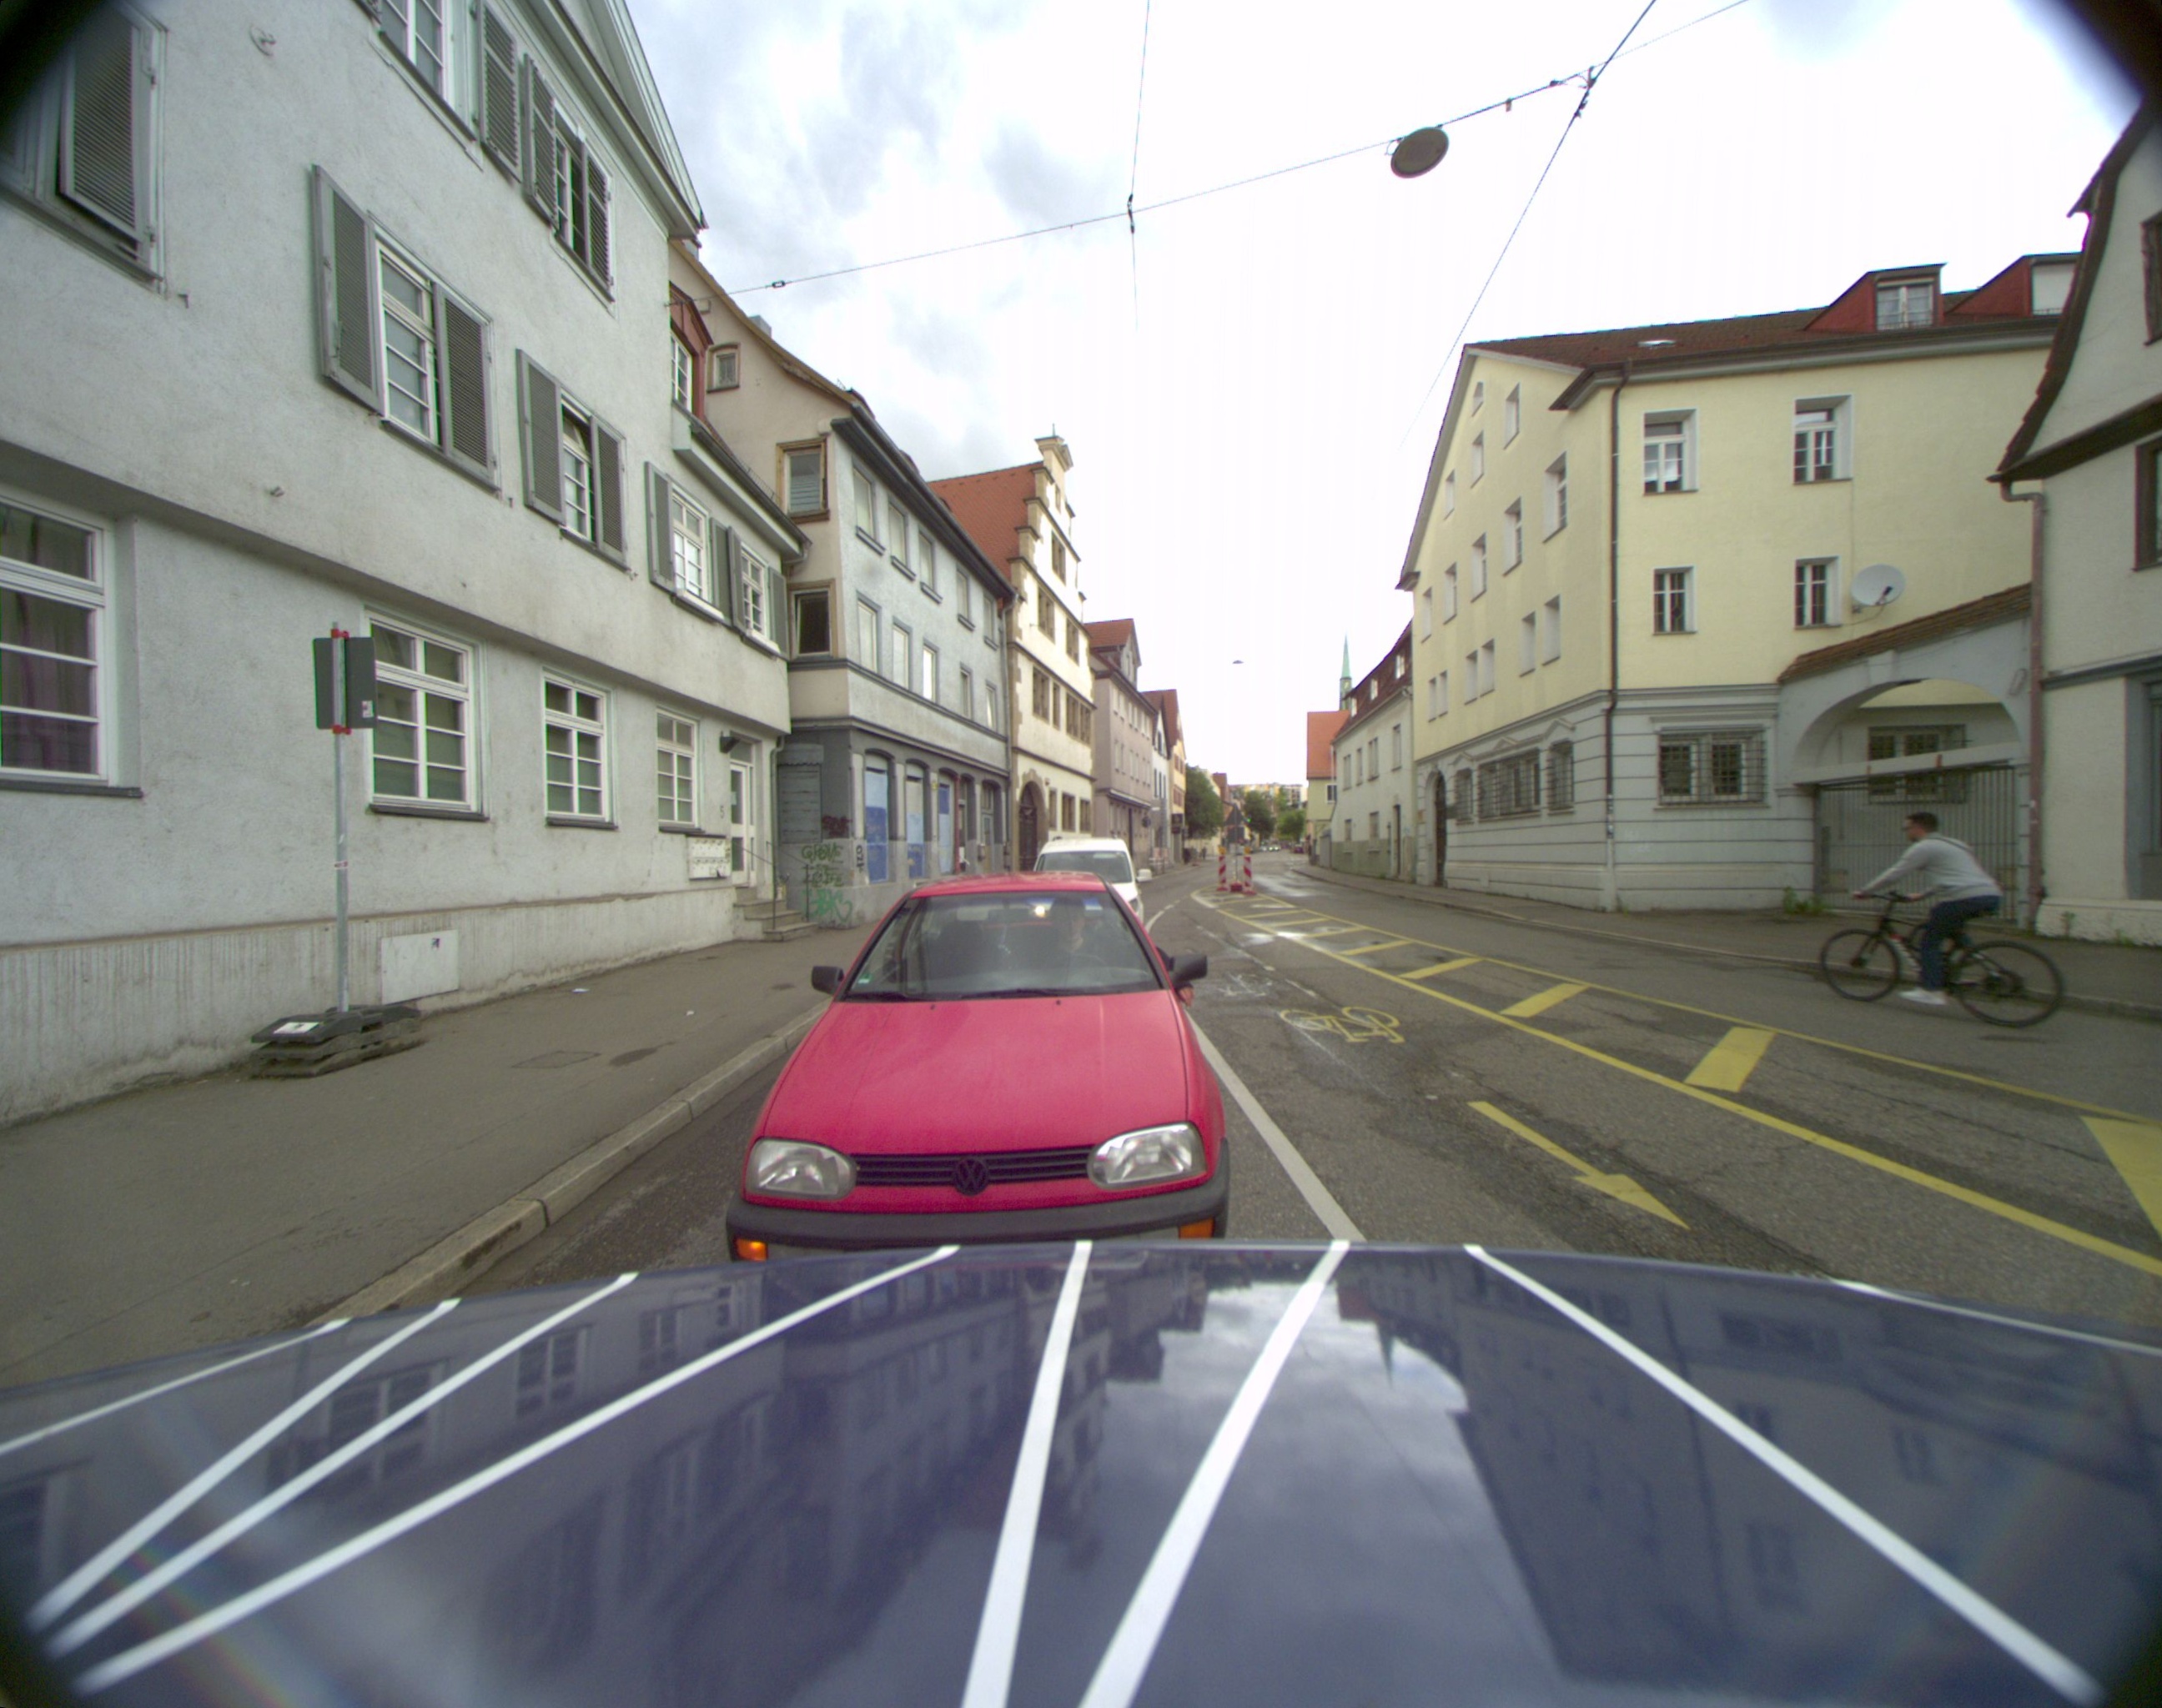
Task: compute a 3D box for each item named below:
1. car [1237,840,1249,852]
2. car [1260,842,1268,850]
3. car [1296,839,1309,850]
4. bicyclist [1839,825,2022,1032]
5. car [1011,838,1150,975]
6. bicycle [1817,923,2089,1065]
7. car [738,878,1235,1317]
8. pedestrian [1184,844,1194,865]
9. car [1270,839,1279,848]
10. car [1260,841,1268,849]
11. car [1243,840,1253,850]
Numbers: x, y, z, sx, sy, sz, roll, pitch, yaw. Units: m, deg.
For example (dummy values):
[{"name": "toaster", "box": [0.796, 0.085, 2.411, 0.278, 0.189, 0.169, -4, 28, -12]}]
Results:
[{"name": "car", "box": [28.457, -1.337, 133.504, 1.996, 2.002, 4.004, -1, 0, 13]}, {"name": "car", "box": [48.481, -2.099, 201.288, 1.996, 2.002, 4.004, -1, 0, 13]}, {"name": "car", "box": [42.730, -1.770, 146.584, 2.057, 2.002, 4.004, -1, 0, 13]}, {"name": "bicyclist", "box": [7.406, 0.616, 6.672, 0.724, 1.691, 0.812, -1, 0, 12]}, {"name": "car", "box": [0.022, 0.700, 12.163, 1.804, 1.781, 4.349, -1, 0, 1]}, {"name": "bicycle", "box": [7.432, 1.129, 6.628, 0.542, 0.887, 1.882, -1, 0, 12]}, {"name": "car", "box": [-0.332, 0.991, 4.889, 1.804, 1.458, 4.000, -4, 0, 1]}, {"name": "pedestrian", "box": [9.964, 0.074, 70.288, 0.877, 1.888, 0.898, -1, 0, 9]}, {"name": "car", "box": [48.651, -2.601, 191.229, 1.996, 2.002, 4.004, -1, 0, 13]}, {"name": "car", "box": [44.960, -2.149, 186.815, 1.996, 2.002, 4.004, -1, 0, 13]}, {"name": "car", "box": [33.935, -1.748, 154.291, 1.996, 2.002, 4.004, -1, 0, 13]}]
